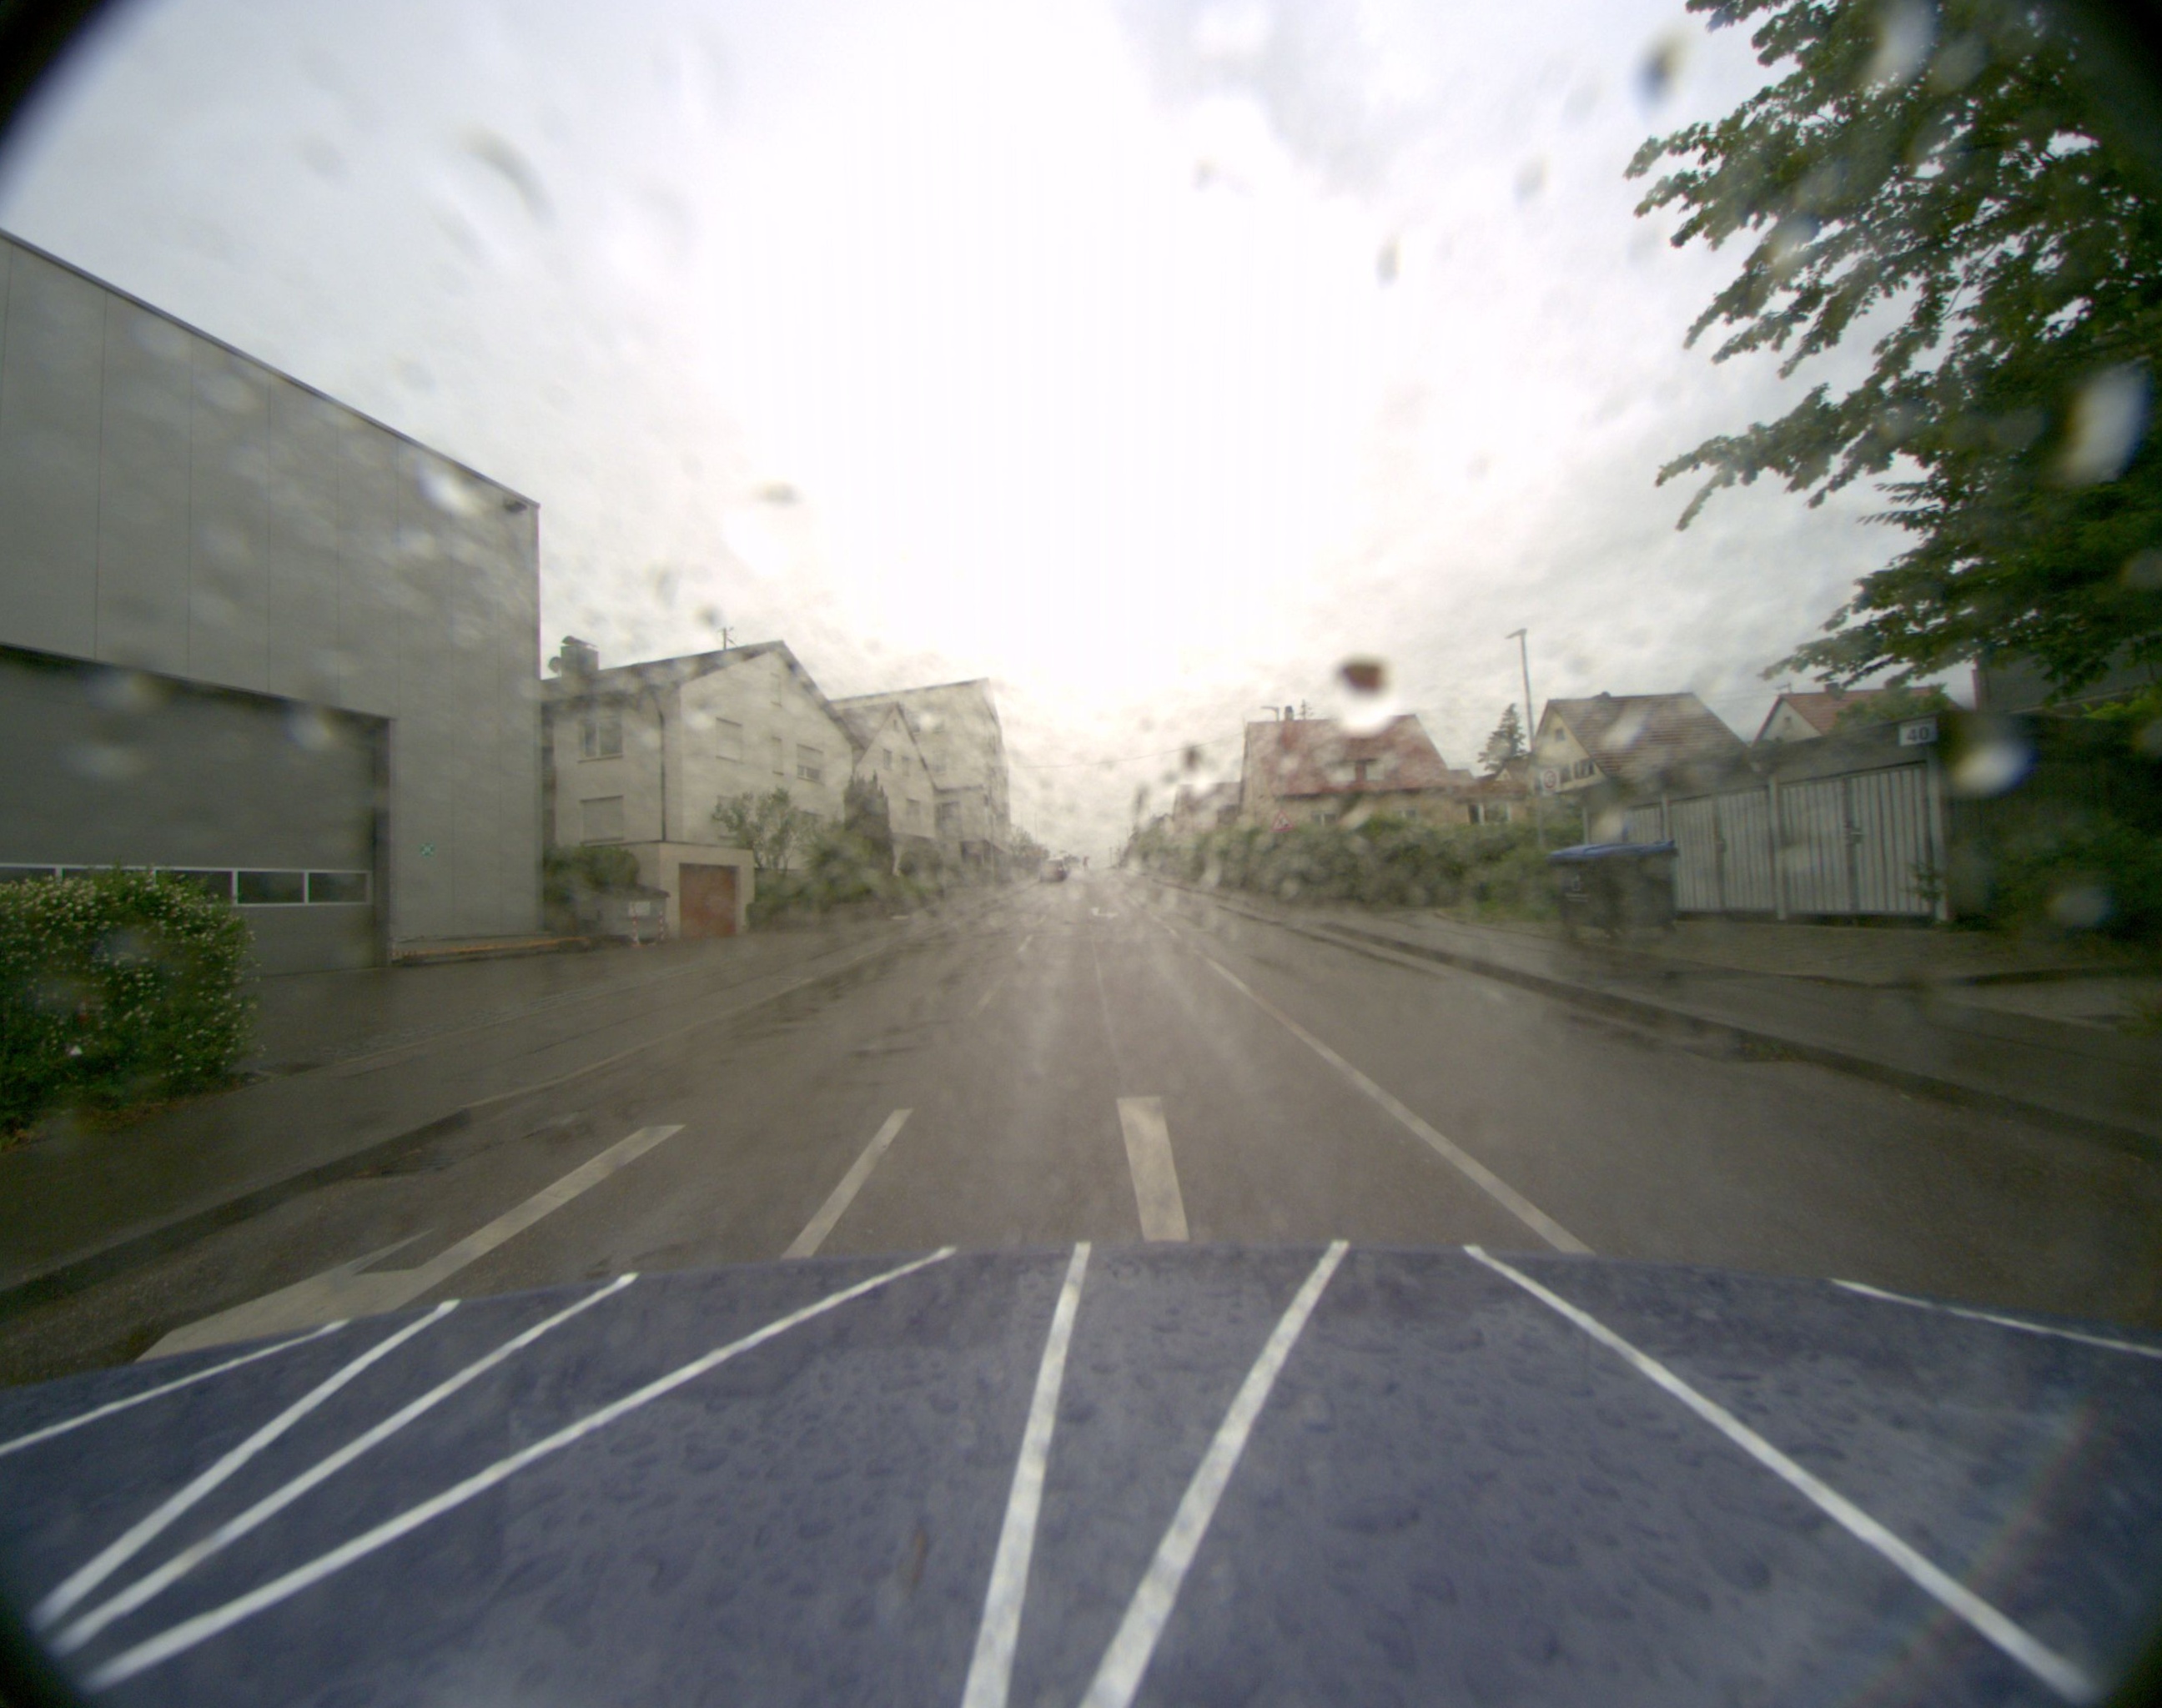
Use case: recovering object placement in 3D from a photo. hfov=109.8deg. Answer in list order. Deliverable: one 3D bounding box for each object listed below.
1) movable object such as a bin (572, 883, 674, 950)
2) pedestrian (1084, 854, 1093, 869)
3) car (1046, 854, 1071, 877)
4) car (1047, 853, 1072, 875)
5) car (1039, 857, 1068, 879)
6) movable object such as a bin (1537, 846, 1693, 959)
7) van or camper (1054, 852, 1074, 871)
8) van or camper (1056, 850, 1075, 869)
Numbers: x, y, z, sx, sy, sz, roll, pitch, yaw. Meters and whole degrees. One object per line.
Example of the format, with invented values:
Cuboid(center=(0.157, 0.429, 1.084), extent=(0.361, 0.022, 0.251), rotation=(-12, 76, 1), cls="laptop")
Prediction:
Cuboid(center=(-11.429, 1.534, 19.031), extent=(1.263, 1.509, 1.781), rotation=(-2, 0, 16), cls="movable object such as a bin")
Cuboid(center=(0.984, 1.046, 103.173), extent=(1.063, 1.924, 1.091), rotation=(-3, 0, -3), cls="pedestrian")
Cuboid(center=(-1.963, 0.997, 66.724), extent=(1.883, 1.823, 4.489), rotation=(-3, 0, 1), cls="car")
Cuboid(center=(-2.017, 0.895, 72.503), extent=(1.998, 1.923, 4.976), rotation=(-3, 0, 1), cls="car")
Cuboid(center=(-2.181, 1.085, 61.498), extent=(1.998, 1.635, 4.958), rotation=(-3, 0, 1), cls="car")
Cuboid(center=(7.132, 0.617, 10.241), extent=(1.074, 1.339, 1.319), rotation=(-4, 0, -1), cls="movable object such as a bin")
Cuboid(center=(-1.913, 0.830, 86.153), extent=(1.998, 2.101, 5.203), rotation=(-2, 0, 0), cls="van or camper")
Cuboid(center=(-1.836, 0.641, 92.381), extent=(1.998, 2.229, 5.441), rotation=(-2, 0, 0), cls="van or camper")
